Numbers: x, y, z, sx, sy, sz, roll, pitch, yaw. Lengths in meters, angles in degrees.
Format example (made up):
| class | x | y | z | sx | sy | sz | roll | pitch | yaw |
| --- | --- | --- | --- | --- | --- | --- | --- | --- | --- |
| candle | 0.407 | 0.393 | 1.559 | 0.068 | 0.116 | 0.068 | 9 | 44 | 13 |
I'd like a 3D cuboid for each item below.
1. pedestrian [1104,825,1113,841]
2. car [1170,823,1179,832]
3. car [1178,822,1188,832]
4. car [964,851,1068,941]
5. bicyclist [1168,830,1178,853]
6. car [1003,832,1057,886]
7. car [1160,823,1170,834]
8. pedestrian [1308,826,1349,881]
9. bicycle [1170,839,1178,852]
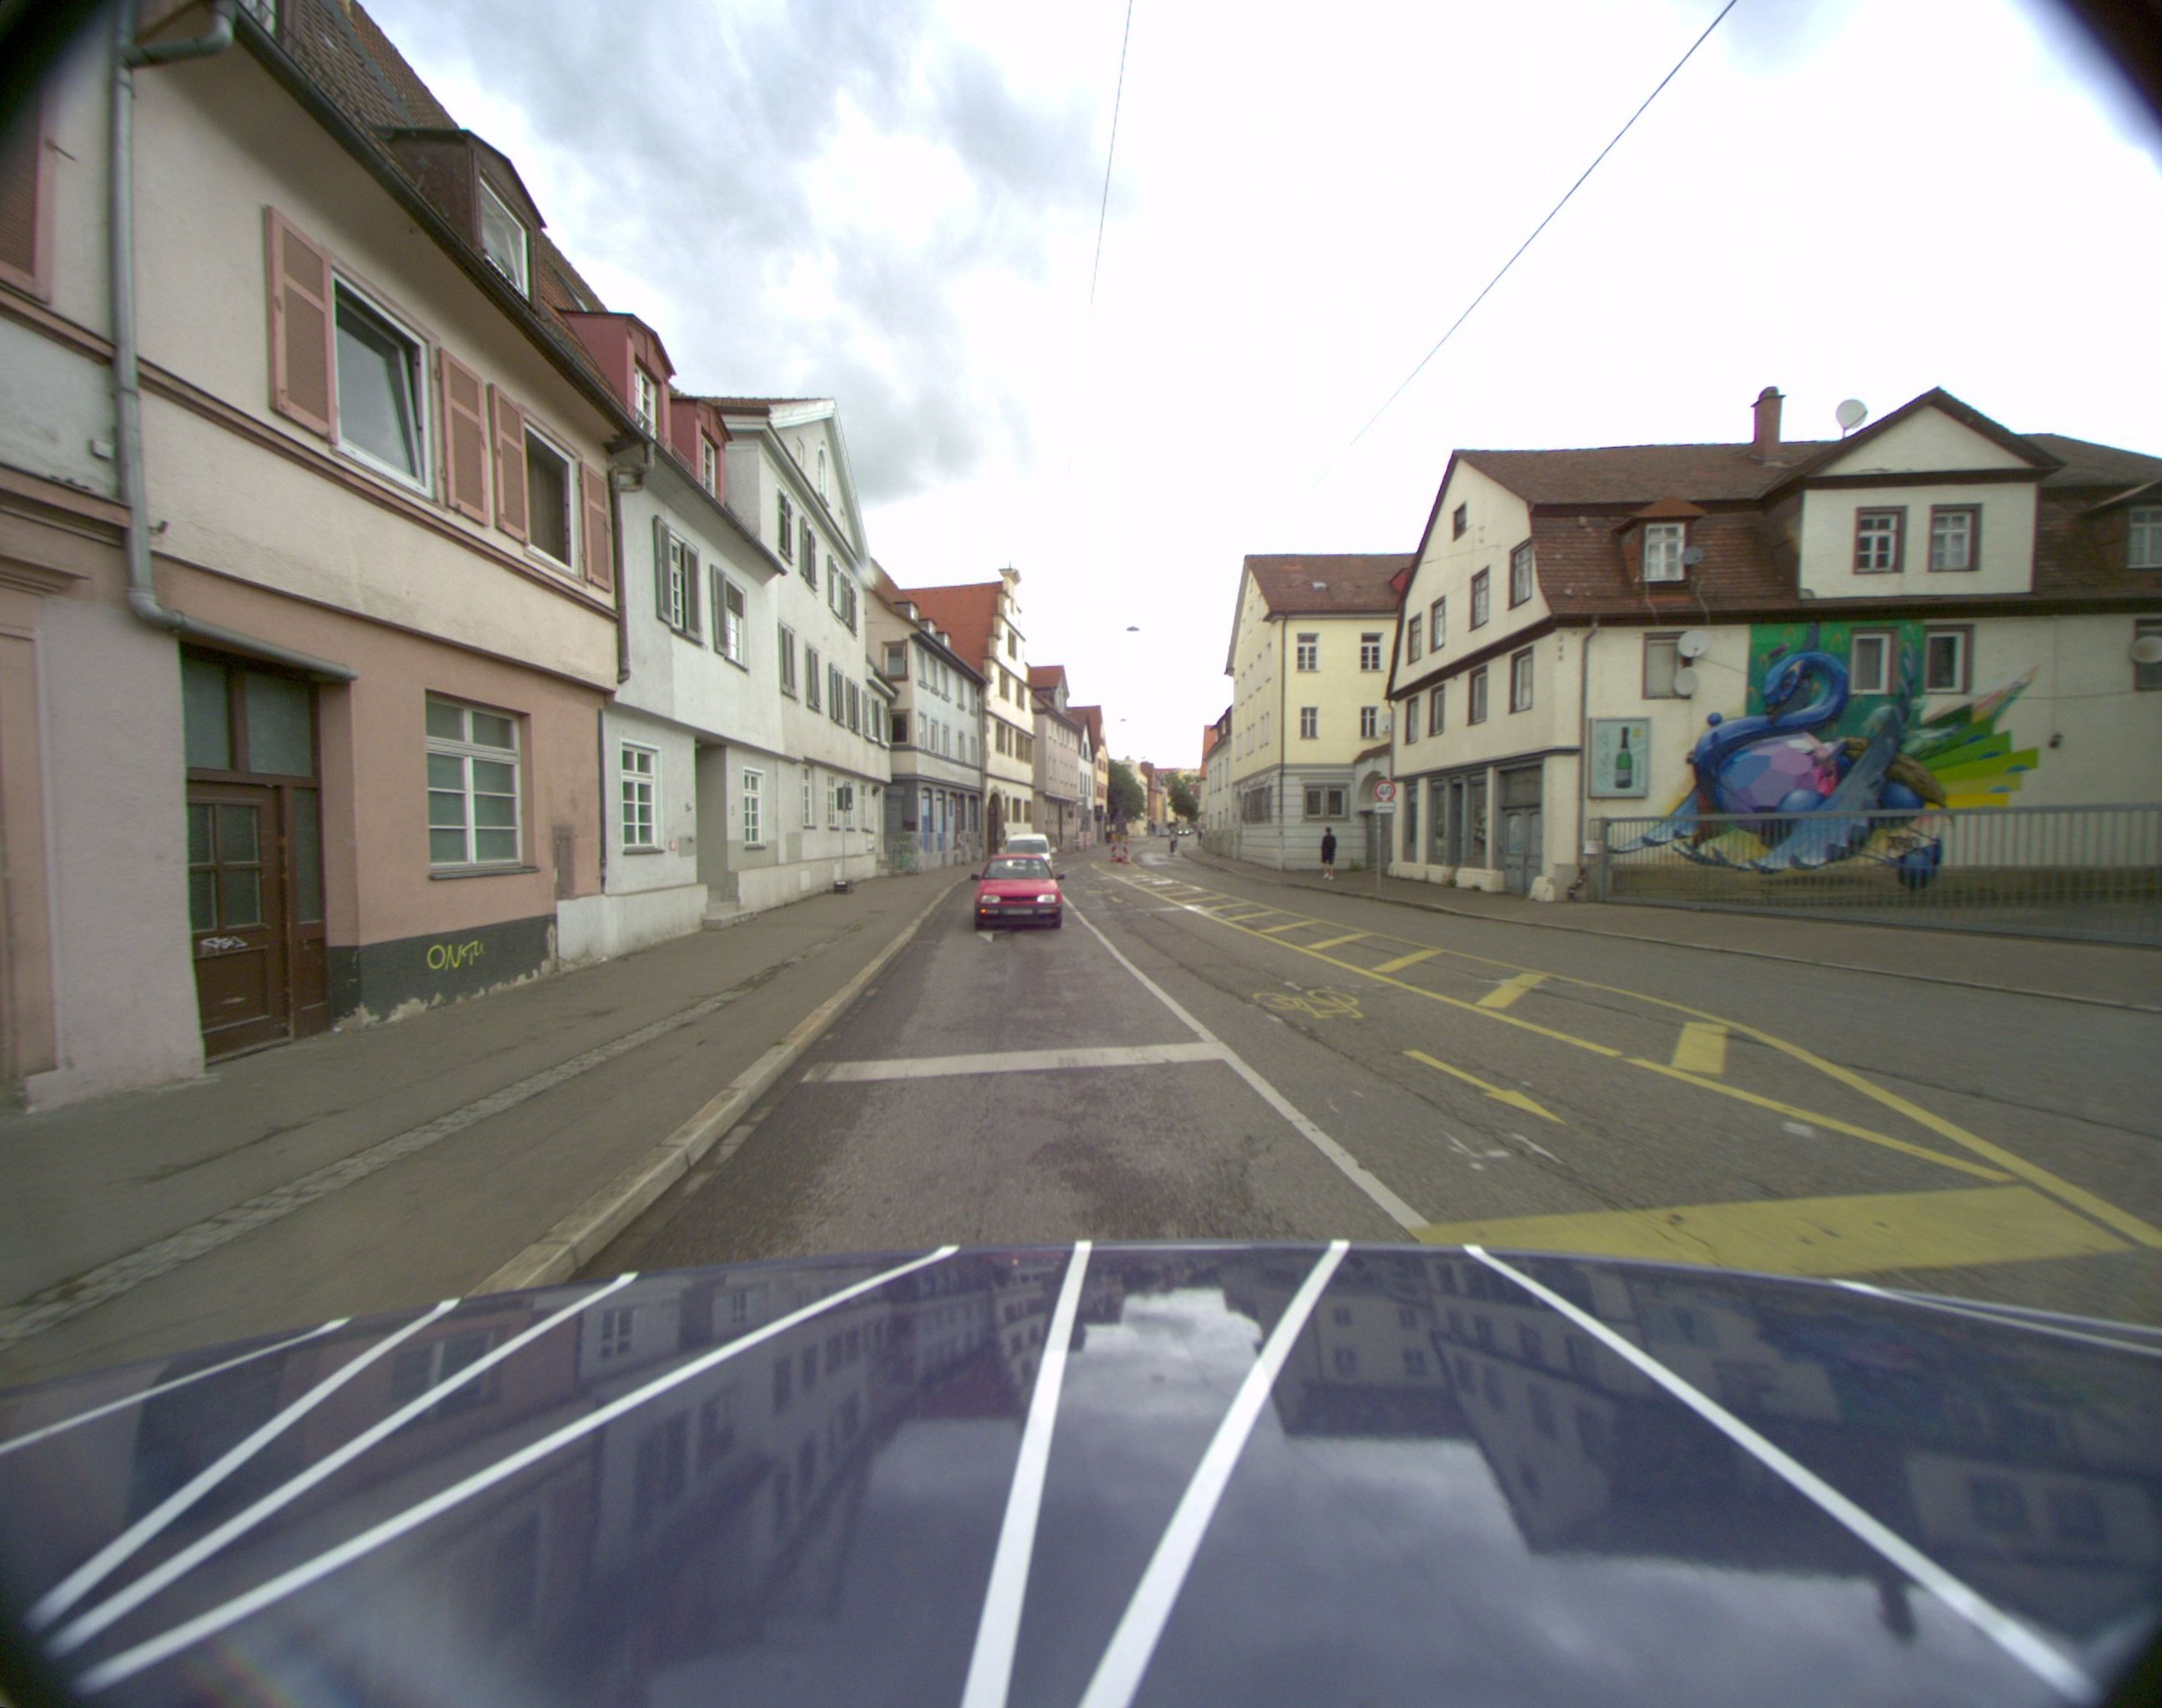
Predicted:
| class | x | y | z | sx | sy | sz | roll | pitch | yaw |
| --- | --- | --- | --- | --- | --- | --- | --- | --- | --- |
| pedestrian | 3.314 | -2.460 | 91.032 | 0.879 | 1.888 | 0.896 | 0 | 1 | -12 |
| car | 21.267 | -6.036 | 172.508 | 1.997 | 2.002 | 4.002 | 0 | 2 | 8 |
| car | 21.105 | -5.656 | 156.683 | 1.997 | 2.002 | 4.002 | 0 | 2 | 8 |
| car | -1.293 | 0.746 | 15.745 | 1.804 | 1.458 | 3.997 | -3 | 2 | -3 |
| bicyclist | 6.690 | -0.901 | 55.170 | 0.724 | 1.691 | 0.811 | 0 | 2 | 8 |
| car | -1.838 | 0.121 | 27.697 | 1.804 | 1.781 | 4.346 | 0 | 1 | -4 |
| car | 16.759 | -5.093 | 151.520 | 1.997 | 2.002 | 4.002 | 0 | 2 | 8 |
| pedestrian | 8.842 | -0.026 | 27.136 | 1.057 | 1.875 | 1.091 | -2 | 1 | -1 |
| bicycle | 6.746 | -0.614 | 55.254 | 0.542 | 0.887 | 1.881 | 0 | 2 | 7 |
